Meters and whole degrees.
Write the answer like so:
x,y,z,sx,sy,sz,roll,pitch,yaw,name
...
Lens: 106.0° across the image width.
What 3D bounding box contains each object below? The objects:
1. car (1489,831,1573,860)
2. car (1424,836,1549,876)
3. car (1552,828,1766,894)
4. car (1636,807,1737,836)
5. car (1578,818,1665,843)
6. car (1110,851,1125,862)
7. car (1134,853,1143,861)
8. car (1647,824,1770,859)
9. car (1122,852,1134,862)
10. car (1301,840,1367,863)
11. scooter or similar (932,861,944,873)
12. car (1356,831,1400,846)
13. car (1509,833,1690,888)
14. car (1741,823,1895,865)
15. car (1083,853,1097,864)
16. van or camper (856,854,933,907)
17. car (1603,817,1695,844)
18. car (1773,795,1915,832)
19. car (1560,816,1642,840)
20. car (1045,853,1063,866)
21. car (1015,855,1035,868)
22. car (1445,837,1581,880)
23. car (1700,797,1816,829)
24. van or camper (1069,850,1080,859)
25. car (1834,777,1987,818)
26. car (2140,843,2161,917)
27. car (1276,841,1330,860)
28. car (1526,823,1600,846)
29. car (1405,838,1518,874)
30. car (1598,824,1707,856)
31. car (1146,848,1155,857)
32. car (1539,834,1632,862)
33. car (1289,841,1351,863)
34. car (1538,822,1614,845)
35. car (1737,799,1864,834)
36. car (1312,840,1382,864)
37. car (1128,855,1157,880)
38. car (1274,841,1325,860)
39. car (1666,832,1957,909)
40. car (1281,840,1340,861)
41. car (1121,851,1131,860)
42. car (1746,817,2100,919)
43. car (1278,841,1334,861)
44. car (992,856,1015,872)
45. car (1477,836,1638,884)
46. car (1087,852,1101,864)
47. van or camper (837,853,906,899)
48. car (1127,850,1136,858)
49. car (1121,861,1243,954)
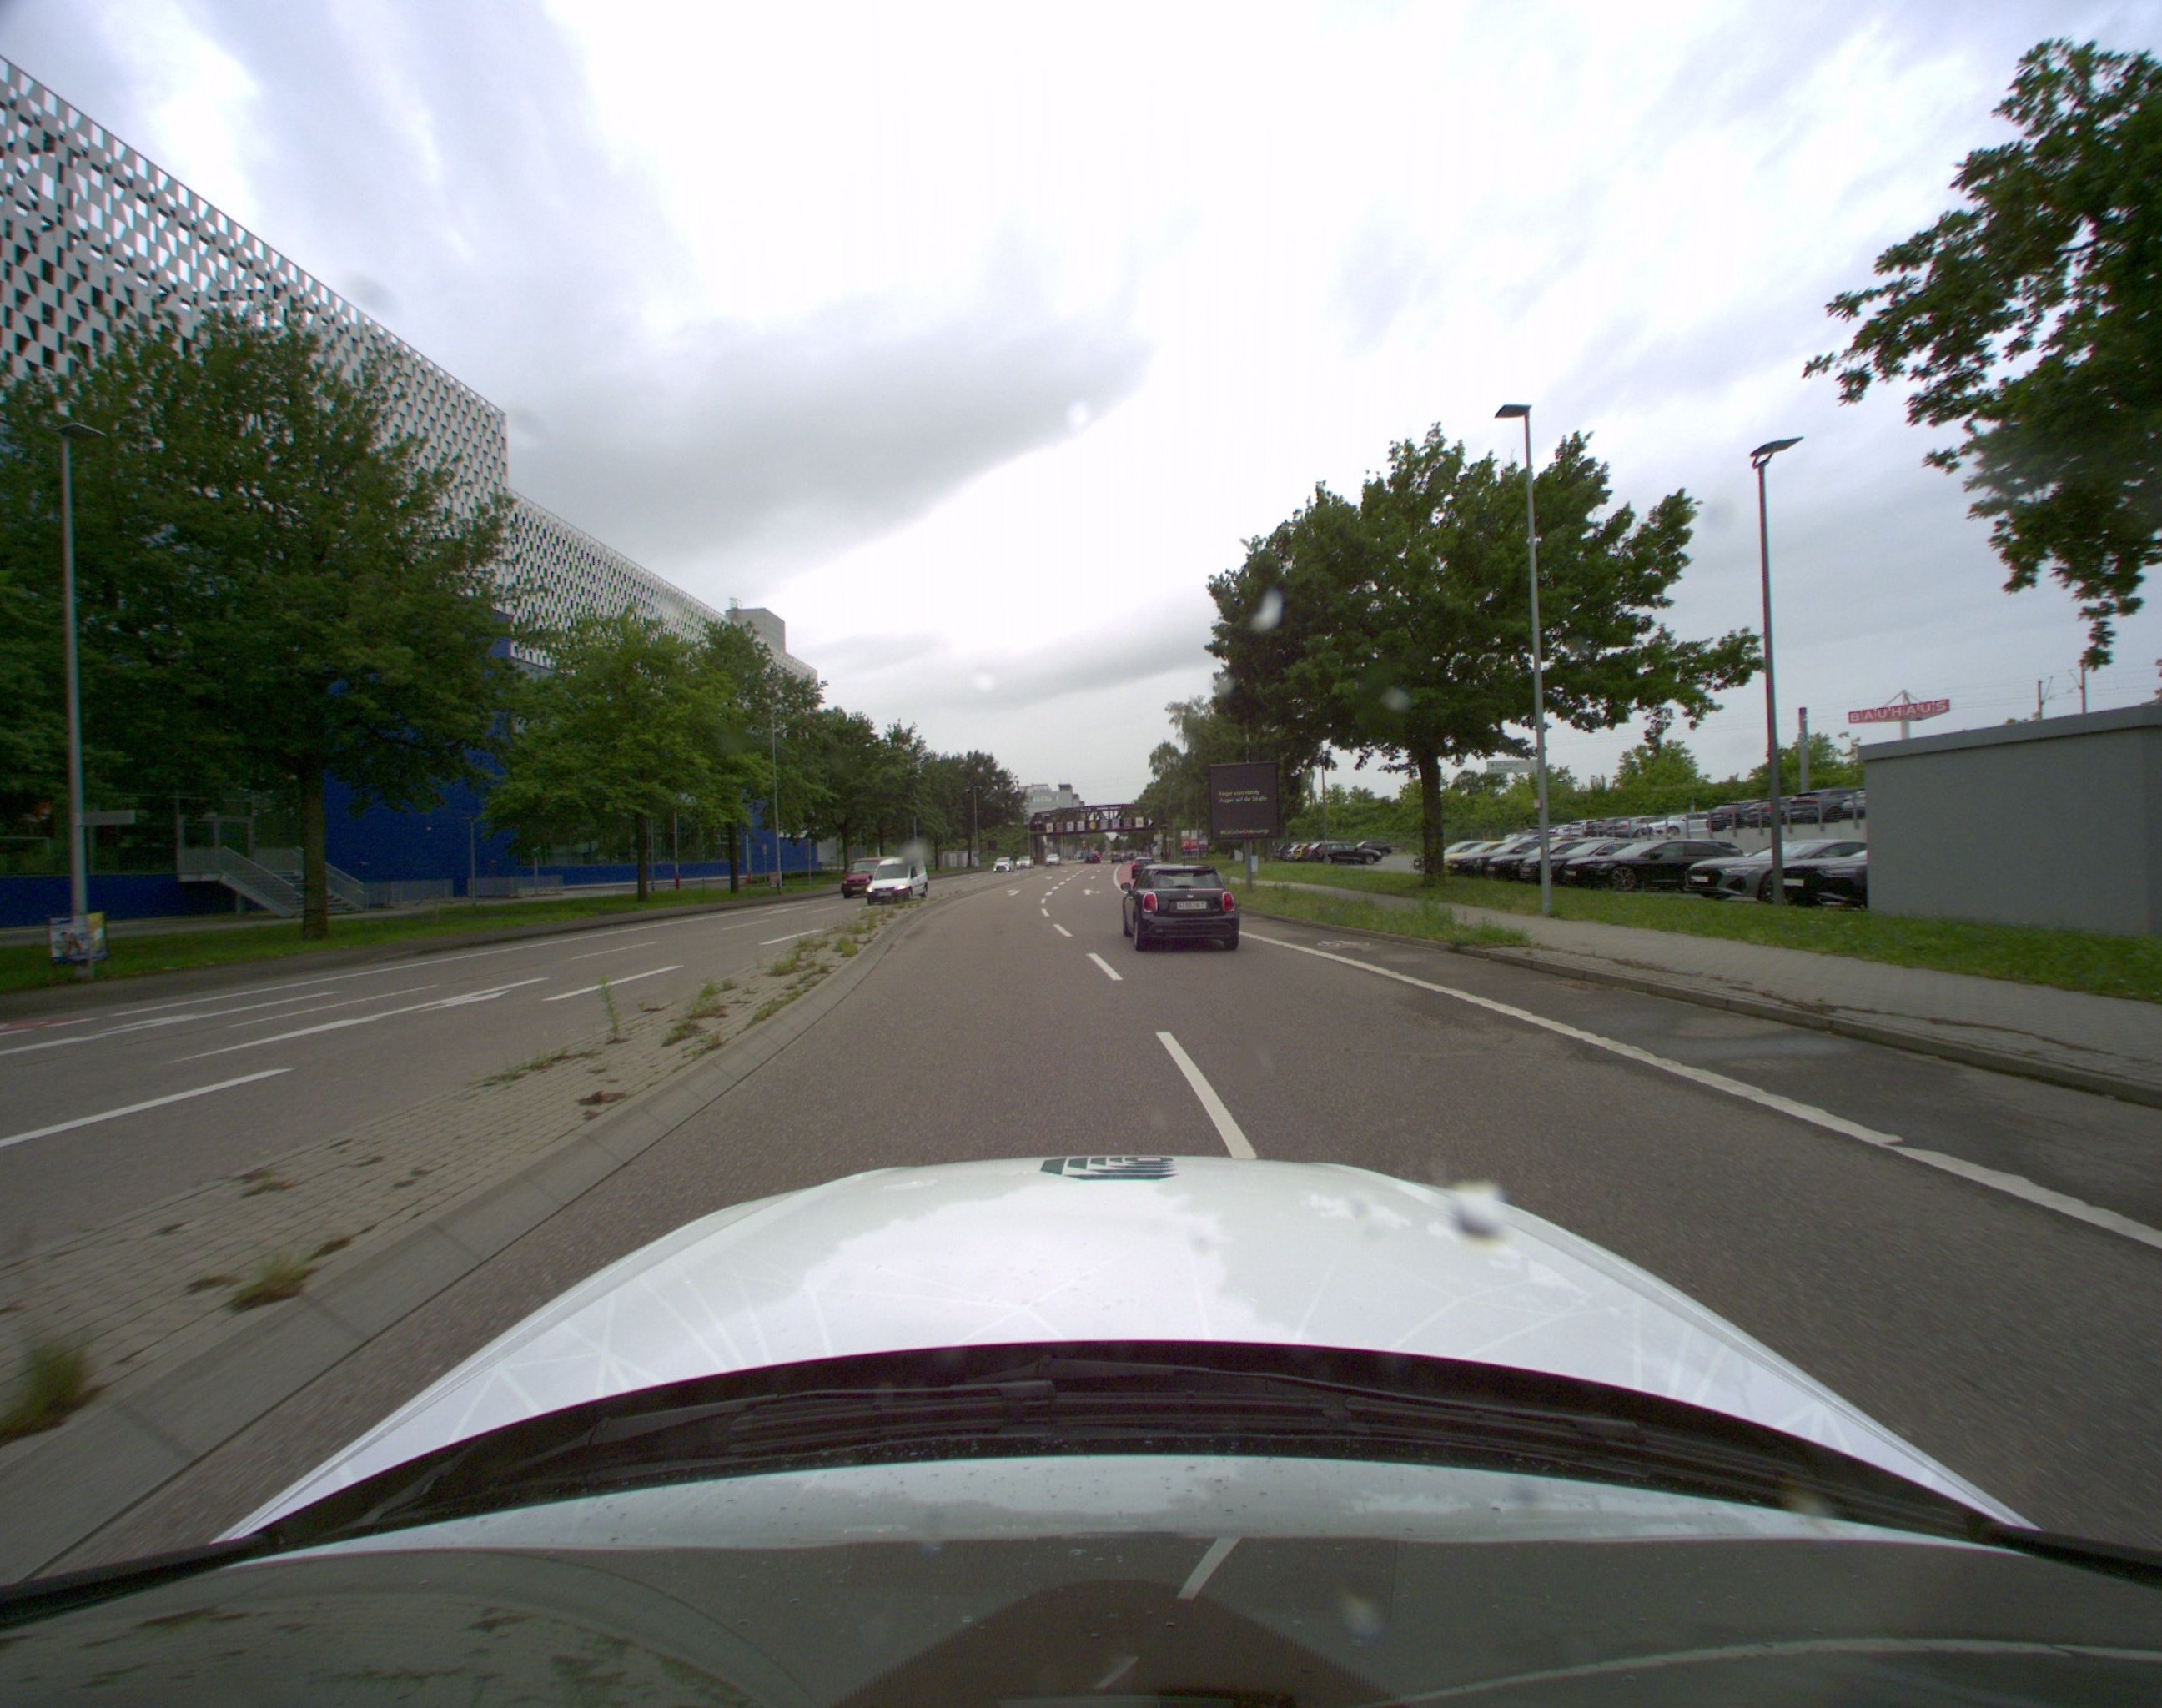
x,y,z,sx,sy,sz,roll,pitch,yaw,name
26.769,-0.534,48.487,4.070,1.620,1.731,-1,2,1,car
16.100,0.059,32.490,4.070,1.435,1.847,-1,2,1,car
15.797,0.184,22.468,4.427,1.571,2.001,2,0,2,car
32.626,-1.750,43.982,4.183,1.435,1.731,-1,2,1,car
32.561,-1.424,49.126,4.070,1.435,1.731,-1,2,1,car
5.967,0.420,133.134,2.125,1.661,3.788,-1,2,5,car
13.406,0.683,188.960,1.940,1.815,4.007,-1,2,5,car
27.377,-0.576,35.628,4.070,1.435,1.731,-1,2,1,car
8.179,0.488,140.466,1.875,1.661,3.788,-1,2,5,car
16.633,-0.193,53.698,3.963,1.435,1.735,-1,2,9,car
-14.486,1.282,82.532,0.759,1.089,2.008,-1,2,2,scooter or similar
30.441,-1.556,83.632,3.963,1.435,1.735,-1,2,9,car
15.867,0.176,25.095,4.326,1.503,1.931,1,0,2,car
27.134,-0.383,30.079,4.070,1.435,1.731,-1,2,1,car
1.411,0.705,129.193,1.875,1.661,3.788,-1,2,5,car
-7.222,0.972,31.948,1.749,1.747,4.408,-5,0,1,van or camper
32.455,-1.357,46.622,4.070,1.435,1.731,-1,2,1,car
31.783,-1.686,34.010,4.070,1.435,1.948,-1,2,1,car
32.960,-1.630,51.700,4.070,1.435,1.731,-1,2,1,car
-3.791,0.814,114.753,1.930,1.675,3.788,-1,2,5,car
-6.628,0.889,96.889,1.711,1.371,3.446,-1,2,5,car
15.878,0.153,30.089,4.070,1.435,1.823,-1,2,1,car
32.186,-1.926,38.812,4.070,1.435,1.731,-1,2,1,car
-1.921,0.245,242.304,1.980,2.485,7.050,-2,0,11,van or camper
31.682,-2.151,31.182,4.070,1.435,1.731,-1,2,1,car
25.295,0.636,16.934,3.971,1.606,1.865,1,2,2,car
17.406,-0.279,64.093,3.963,1.435,1.735,-1,2,9,car
33.215,-1.352,56.192,4.070,1.435,1.731,-1,2,1,car
16.208,0.063,34.807,4.070,1.435,1.731,-1,2,1,car
27.543,-0.704,39.332,4.070,1.435,1.731,-1,2,1,car
15.372,-0.347,180.854,1.940,1.815,4.007,-1,2,5,car
27.649,-0.327,44.696,4.070,1.435,1.731,-1,2,1,car
16.631,-0.159,56.719,3.963,1.435,1.735,-1,2,9,car
32.892,-1.363,54.172,4.070,1.435,1.731,-1,2,1,car
31.877,-1.656,36.151,4.070,1.435,1.731,-1,2,1,car
16.688,-0.149,51.190,3.963,1.435,1.735,-1,2,9,car
4.194,0.872,54.873,1.748,1.434,4.007,-2,1,6,car
18.236,-0.300,68.182,3.963,1.435,1.735,-1,2,9,car
15.361,0.326,17.348,4.274,1.392,2.002,2,0,4,car
16.584,-0.275,59.080,3.963,1.435,1.735,-1,2,9,car
9.124,0.278,164.243,1.940,1.815,4.007,-1,2,5,car
15.146,0.236,14.884,4.241,1.565,2.002,2,0,4,car
17.150,-0.222,62.234,3.963,1.435,1.735,-1,2,9,car
-7.780,0.979,82.085,1.746,1.446,3.345,-1,2,5,car
15.967,0.190,27.461,4.326,1.488,1.844,-1,0,2,car
2.176,0.606,135.855,1.940,1.815,4.007,-1,2,5,car
-10.421,1.046,40.879,1.867,1.986,4.893,-3,1,3,van or camper
10.939,-0.066,175.750,1.875,1.661,3.788,-1,2,5,car
1.667,0.851,14.548,1.779,1.416,3.644,1,0,1,car
